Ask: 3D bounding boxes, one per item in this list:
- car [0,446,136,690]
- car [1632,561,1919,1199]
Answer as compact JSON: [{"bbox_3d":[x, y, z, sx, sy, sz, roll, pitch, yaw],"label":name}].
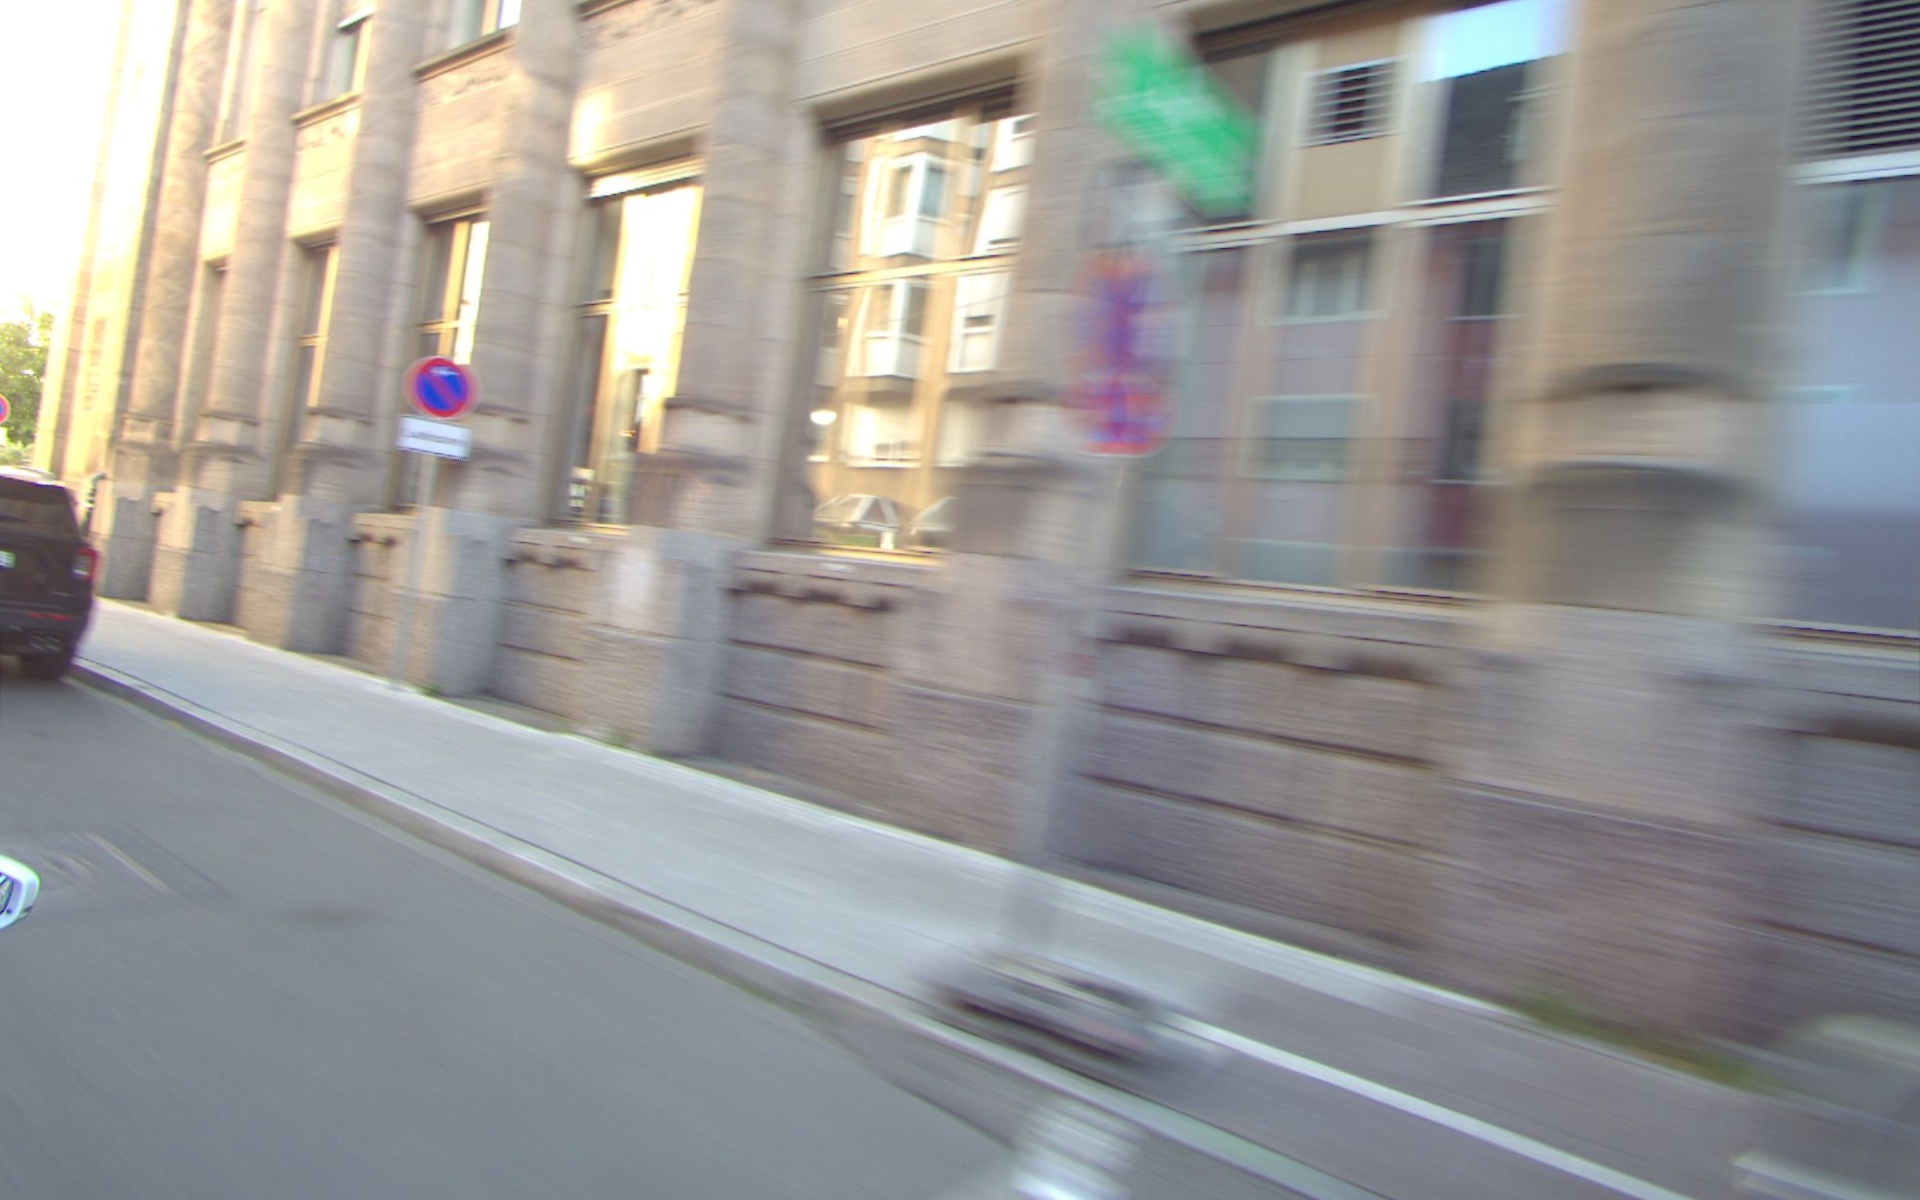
[{"bbox_3d":[-9.370,-0.523,8.680,4.854,1.803,1.997,7,-2,33],"label":"car"},{"bbox_3d":[3.123,1.084,0.945,3.934,1.685,1.777,7,-2,32],"label":"car"}]
